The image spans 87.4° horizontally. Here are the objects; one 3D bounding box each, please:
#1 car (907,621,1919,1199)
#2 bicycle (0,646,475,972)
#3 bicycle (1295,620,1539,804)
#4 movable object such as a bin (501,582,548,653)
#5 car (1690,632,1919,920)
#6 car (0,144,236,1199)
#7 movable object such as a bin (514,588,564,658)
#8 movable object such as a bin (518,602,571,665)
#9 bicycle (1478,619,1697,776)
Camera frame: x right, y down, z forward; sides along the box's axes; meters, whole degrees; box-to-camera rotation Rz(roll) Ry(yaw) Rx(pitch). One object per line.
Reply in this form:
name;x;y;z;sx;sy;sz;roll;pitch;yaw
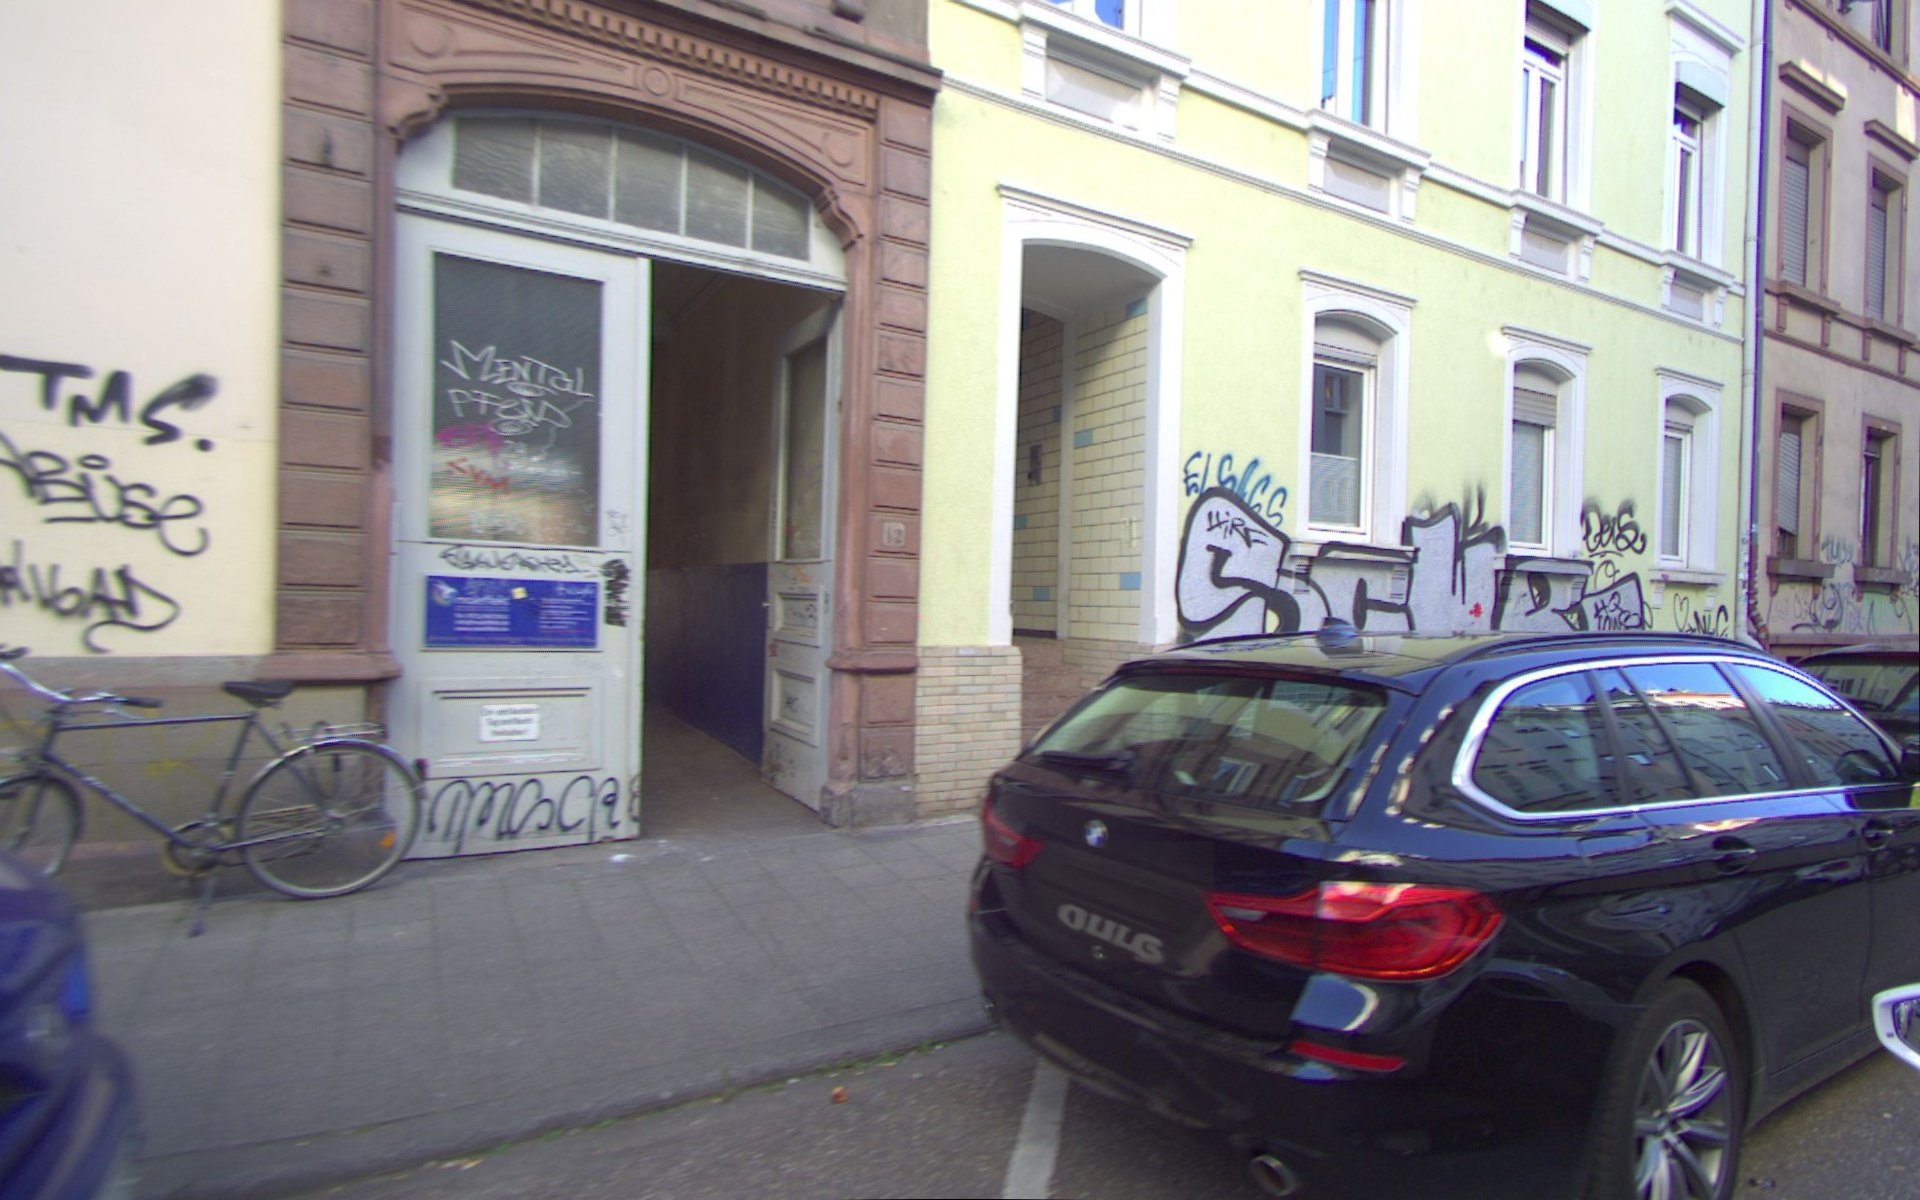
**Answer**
car;2.251;0.824;3.723;4.593;1.459;1.852;1;0;-32
bicycle;-3.050;0.742;3.965;2.004;1.035;0.751;1;4;-29
bicycle;3.629;0.820;7.922;2.062;1.288;0.670;1;0;-30
movable object such as a bin;-7.510;0.297;17.307;0.660;1.172;0.711;1;1;-30
car;6.537;0.954;6.303;3.953;1.446;1.728;1;-1;-30
car;-3.352;0.472;0.560;4.559;1.916;1.819;1;-3;-30
movable object such as a bin;-6.867;0.368;16.385;0.660;1.102;0.711;1;1;-30
movable object such as a bin;-6.336;0.499;15.310;0.660;0.908;0.711;1;1;-30
bicycle;5.791;0.840;9.227;2.300;1.262;0.664;1;3;-31
